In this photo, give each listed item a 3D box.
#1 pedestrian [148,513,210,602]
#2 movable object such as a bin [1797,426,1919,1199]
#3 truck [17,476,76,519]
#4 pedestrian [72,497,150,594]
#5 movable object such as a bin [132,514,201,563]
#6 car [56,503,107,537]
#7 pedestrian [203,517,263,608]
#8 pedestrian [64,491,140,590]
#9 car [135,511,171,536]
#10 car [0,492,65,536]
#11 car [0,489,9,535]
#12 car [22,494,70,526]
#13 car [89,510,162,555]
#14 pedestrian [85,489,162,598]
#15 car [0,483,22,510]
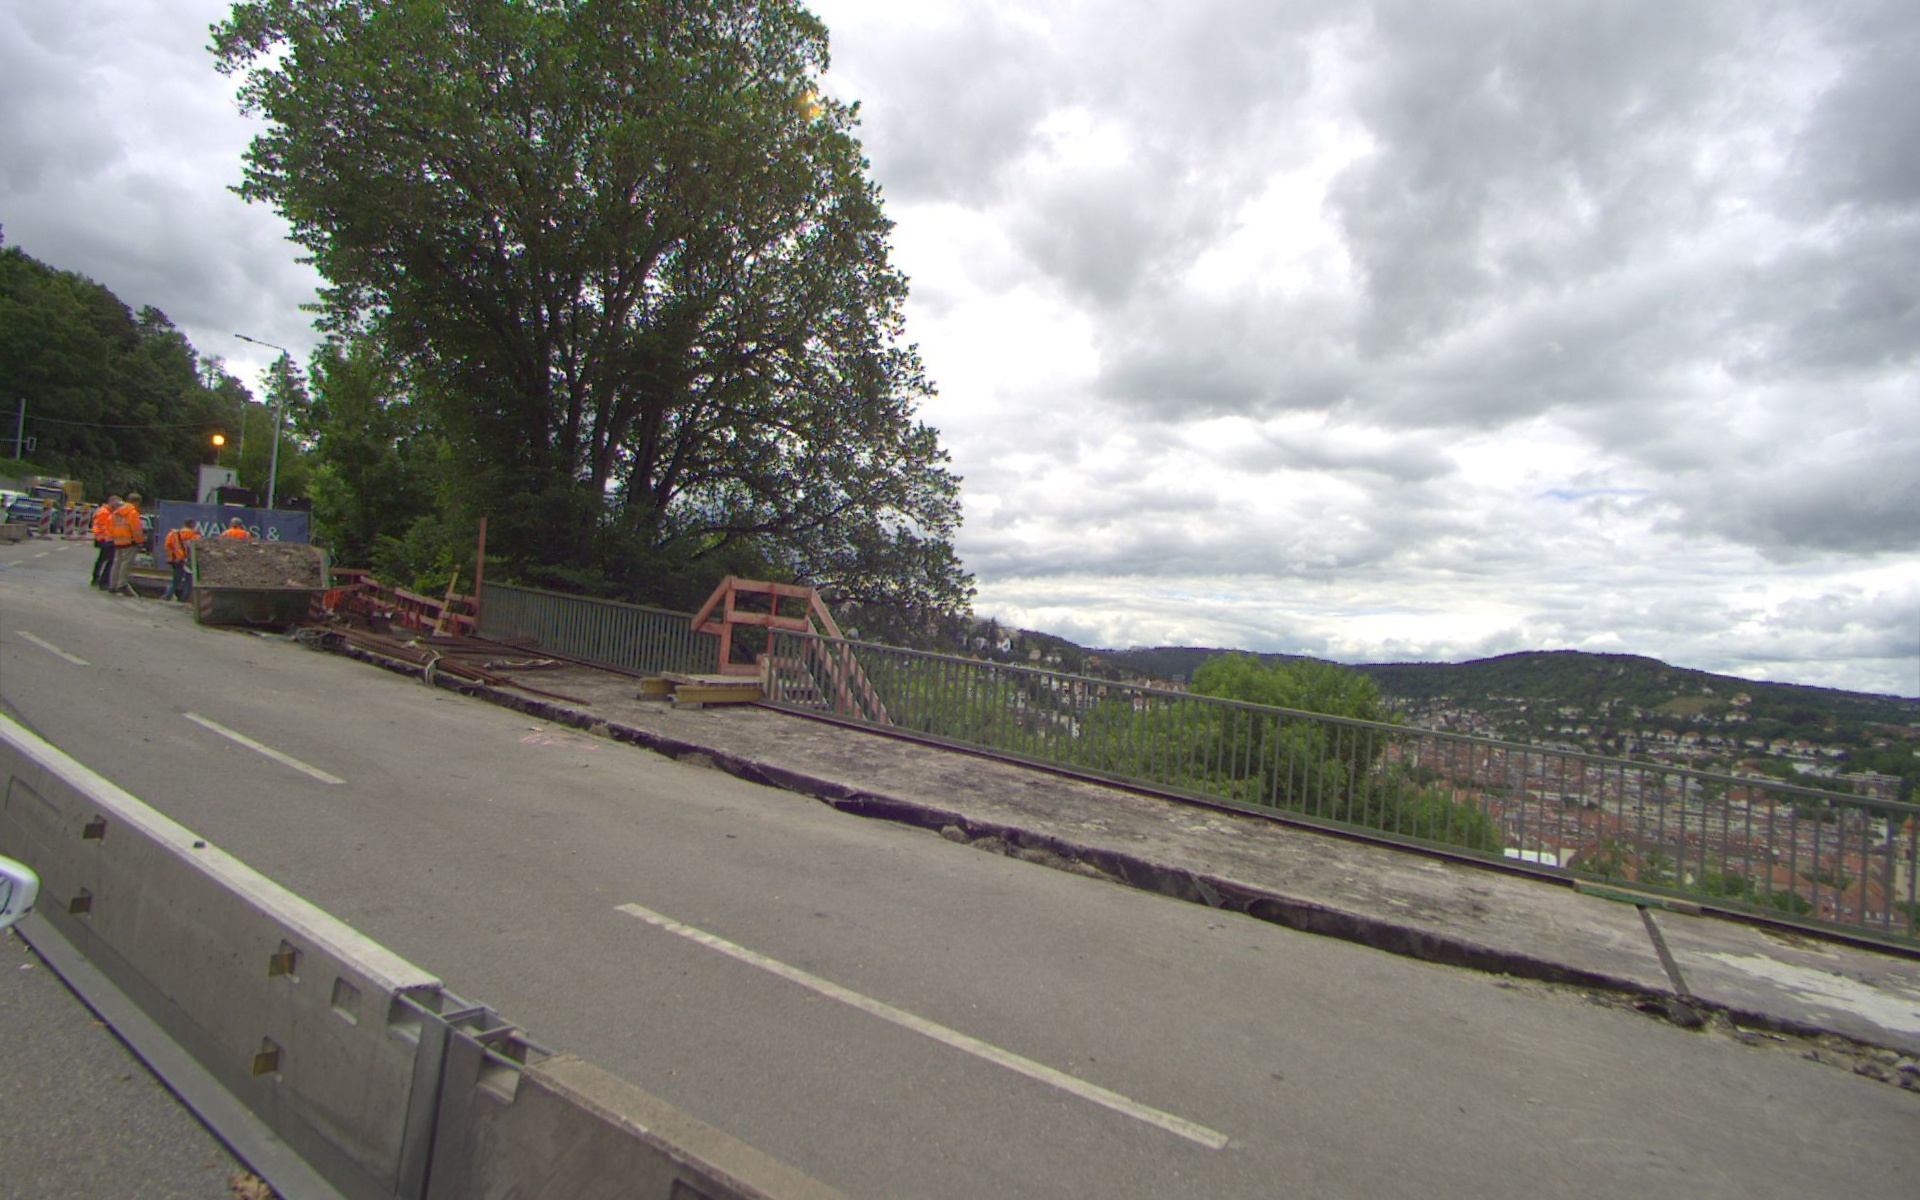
[{"bbox_3d":[-15.459,-0.834,19.932,0.778,1.627,0.661,8,-1,-35],"label":"pedestrian"},{"bbox_3d":[4.967,0.910,1.800,4.865,2.693,2.215,7,-2,34],"label":"movable object such as a bin"},{"bbox_3d":[-83.257,-9.250,91.823,2.889,3.192,7.511,8,-2,-36],"label":"truck"},{"bbox_3d":[-16.815,-1.071,19.920,0.865,1.751,0.875,7,-1,39],"label":"pedestrian"},{"bbox_3d":[-28.728,-2.223,36.405,1.877,1.442,1.395,7,-2,36],"label":"movable object such as a bin"},{"bbox_3d":[-51.106,-4.641,58.579,1.801,1.683,3.959,8,-1,-37],"label":"car"},{"bbox_3d":[-14.627,-0.756,20.263,0.778,1.708,0.778,8,-1,-35],"label":"pedestrian"},{"bbox_3d":[-17.552,-1.214,20.573,0.865,1.844,0.875,7,-1,39],"label":"pedestrian"},{"bbox_3d":[-56.618,-5.363,70.664,1.786,1.384,3.958,8,-2,-38],"label":"car"},{"bbox_3d":[-43.554,-4.028,47.275,1.801,1.683,3.959,8,-1,-37],"label":"car"},{"bbox_3d":[-35.728,-3.294,36.065,1.800,1.683,3.960,8,-1,-37],"label":"car"},{"bbox_3d":[-58.835,-5.768,64.831,1.801,1.683,3.959,8,-1,-37],"label":"car"},{"bbox_3d":[-31.943,-2.572,38.585,1.785,1.384,3.960,8,-2,-36],"label":"car"},{"bbox_3d":[-15.953,-1.071,19.190,0.811,1.929,0.692,7,0,27],"label":"pedestrian"},{"bbox_3d":[-59.884,-6.513,62.583,1.761,1.468,4.263,11,-3,-38],"label":"car"}]
